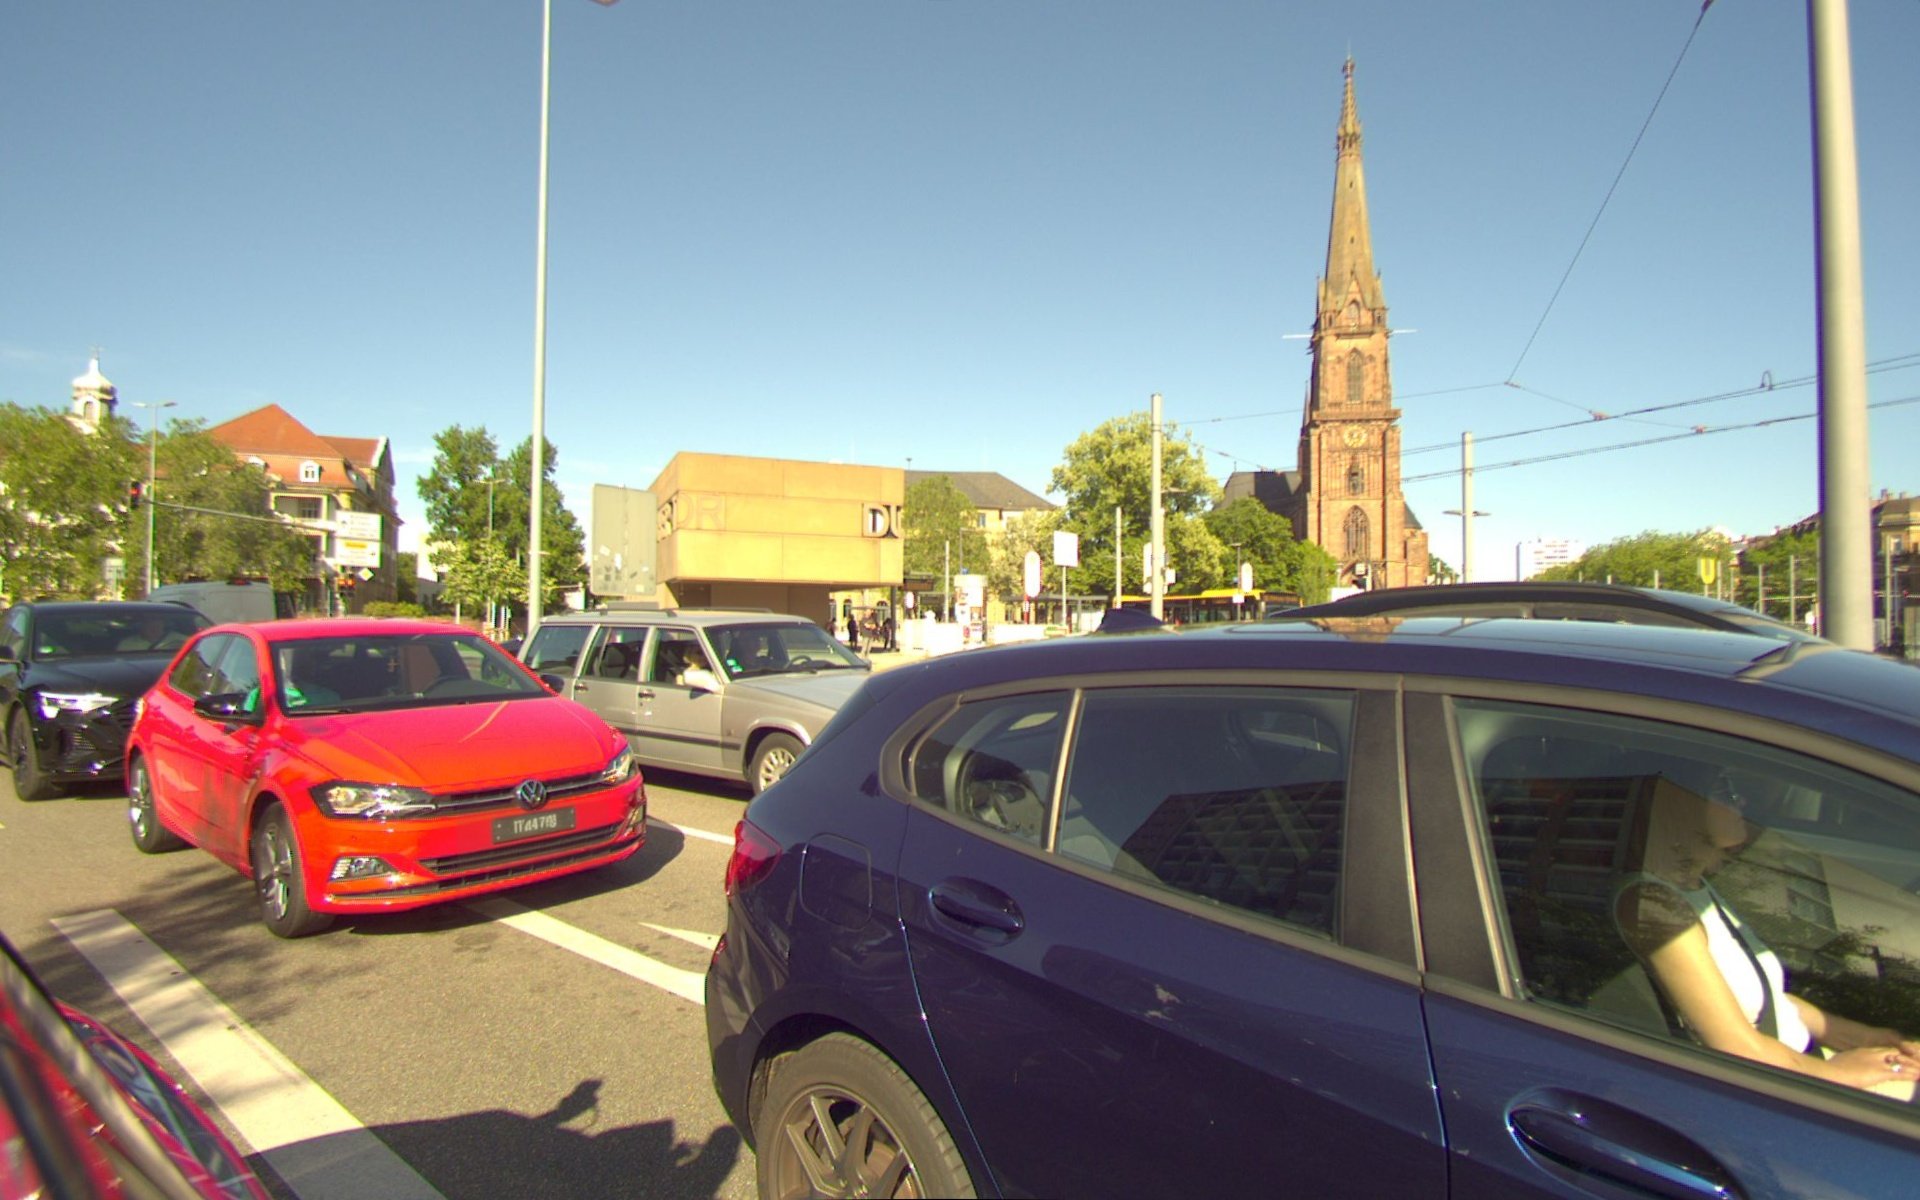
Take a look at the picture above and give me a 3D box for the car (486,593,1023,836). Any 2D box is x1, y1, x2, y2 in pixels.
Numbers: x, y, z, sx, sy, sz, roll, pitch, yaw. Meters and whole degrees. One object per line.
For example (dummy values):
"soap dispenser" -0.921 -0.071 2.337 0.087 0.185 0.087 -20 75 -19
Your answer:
"car" -1.921 0.768 8.415 4.745 1.484 1.692 -2 0 38

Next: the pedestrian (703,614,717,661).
"pedestrian" -9.561 1.420 38.699 0.460 1.789 0.648 1 -2 -21

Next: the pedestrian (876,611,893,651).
"pedestrian" -3.371 1.379 45.165 0.468 1.789 0.638 -1 -2 36

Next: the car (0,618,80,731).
"car" -13.862 0.997 14.076 3.703 1.429 1.558 -1 0 34

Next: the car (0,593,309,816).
"car" -8.020 0.811 9.495 4.447 1.628 1.836 -1 -2 38

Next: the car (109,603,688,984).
"car" -3.412 0.784 5.837 3.850 1.484 1.653 -1 -1 40

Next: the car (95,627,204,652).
"car" -40.132 1.939 50.199 1.582 1.214 3.952 -1 -2 35

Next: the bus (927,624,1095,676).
"bus" 1.284 1.247 26.304 4.174 1.251 1.627 -1 -2 35

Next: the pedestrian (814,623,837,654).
"pedestrian" -5.757 1.630 43.286 0.635 1.320 0.764 1 -2 -40

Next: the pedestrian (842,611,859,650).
"pedestrian" -5.072 1.421 46.815 0.468 1.789 0.638 -1 -2 36

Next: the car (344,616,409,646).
"car" -35.584 1.863 61.801 1.511 1.692 3.365 0 0 14

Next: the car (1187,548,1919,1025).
"car" 3.192 0.615 4.353 4.010 1.529 1.738 -1 -1 44

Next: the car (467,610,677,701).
"car" -7.869 1.077 20.483 4.057 1.672 1.851 -1 -2 31

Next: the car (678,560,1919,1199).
"car" 1.445 0.689 1.503 4.030 1.456 1.693 -1 0 42

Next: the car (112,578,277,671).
"car" -22.559 0.723 29.774 5.399 2.527 1.979 -1 -2 31

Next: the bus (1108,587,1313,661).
"bus" 11.428 1.183 48.284 2.715 3.088 12.201 1 -2 -23

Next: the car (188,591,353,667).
"car" -22.823 0.938 33.406 6.191 2.331 2.095 -1 -1 31

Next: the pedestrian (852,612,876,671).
"pedestrian" -2.983 1.282 31.495 0.659 1.802 0.645 -1 0 3

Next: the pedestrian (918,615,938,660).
"pedestrian" -1.305 1.516 41.182 0.634 1.789 0.470 1 -2 -29
